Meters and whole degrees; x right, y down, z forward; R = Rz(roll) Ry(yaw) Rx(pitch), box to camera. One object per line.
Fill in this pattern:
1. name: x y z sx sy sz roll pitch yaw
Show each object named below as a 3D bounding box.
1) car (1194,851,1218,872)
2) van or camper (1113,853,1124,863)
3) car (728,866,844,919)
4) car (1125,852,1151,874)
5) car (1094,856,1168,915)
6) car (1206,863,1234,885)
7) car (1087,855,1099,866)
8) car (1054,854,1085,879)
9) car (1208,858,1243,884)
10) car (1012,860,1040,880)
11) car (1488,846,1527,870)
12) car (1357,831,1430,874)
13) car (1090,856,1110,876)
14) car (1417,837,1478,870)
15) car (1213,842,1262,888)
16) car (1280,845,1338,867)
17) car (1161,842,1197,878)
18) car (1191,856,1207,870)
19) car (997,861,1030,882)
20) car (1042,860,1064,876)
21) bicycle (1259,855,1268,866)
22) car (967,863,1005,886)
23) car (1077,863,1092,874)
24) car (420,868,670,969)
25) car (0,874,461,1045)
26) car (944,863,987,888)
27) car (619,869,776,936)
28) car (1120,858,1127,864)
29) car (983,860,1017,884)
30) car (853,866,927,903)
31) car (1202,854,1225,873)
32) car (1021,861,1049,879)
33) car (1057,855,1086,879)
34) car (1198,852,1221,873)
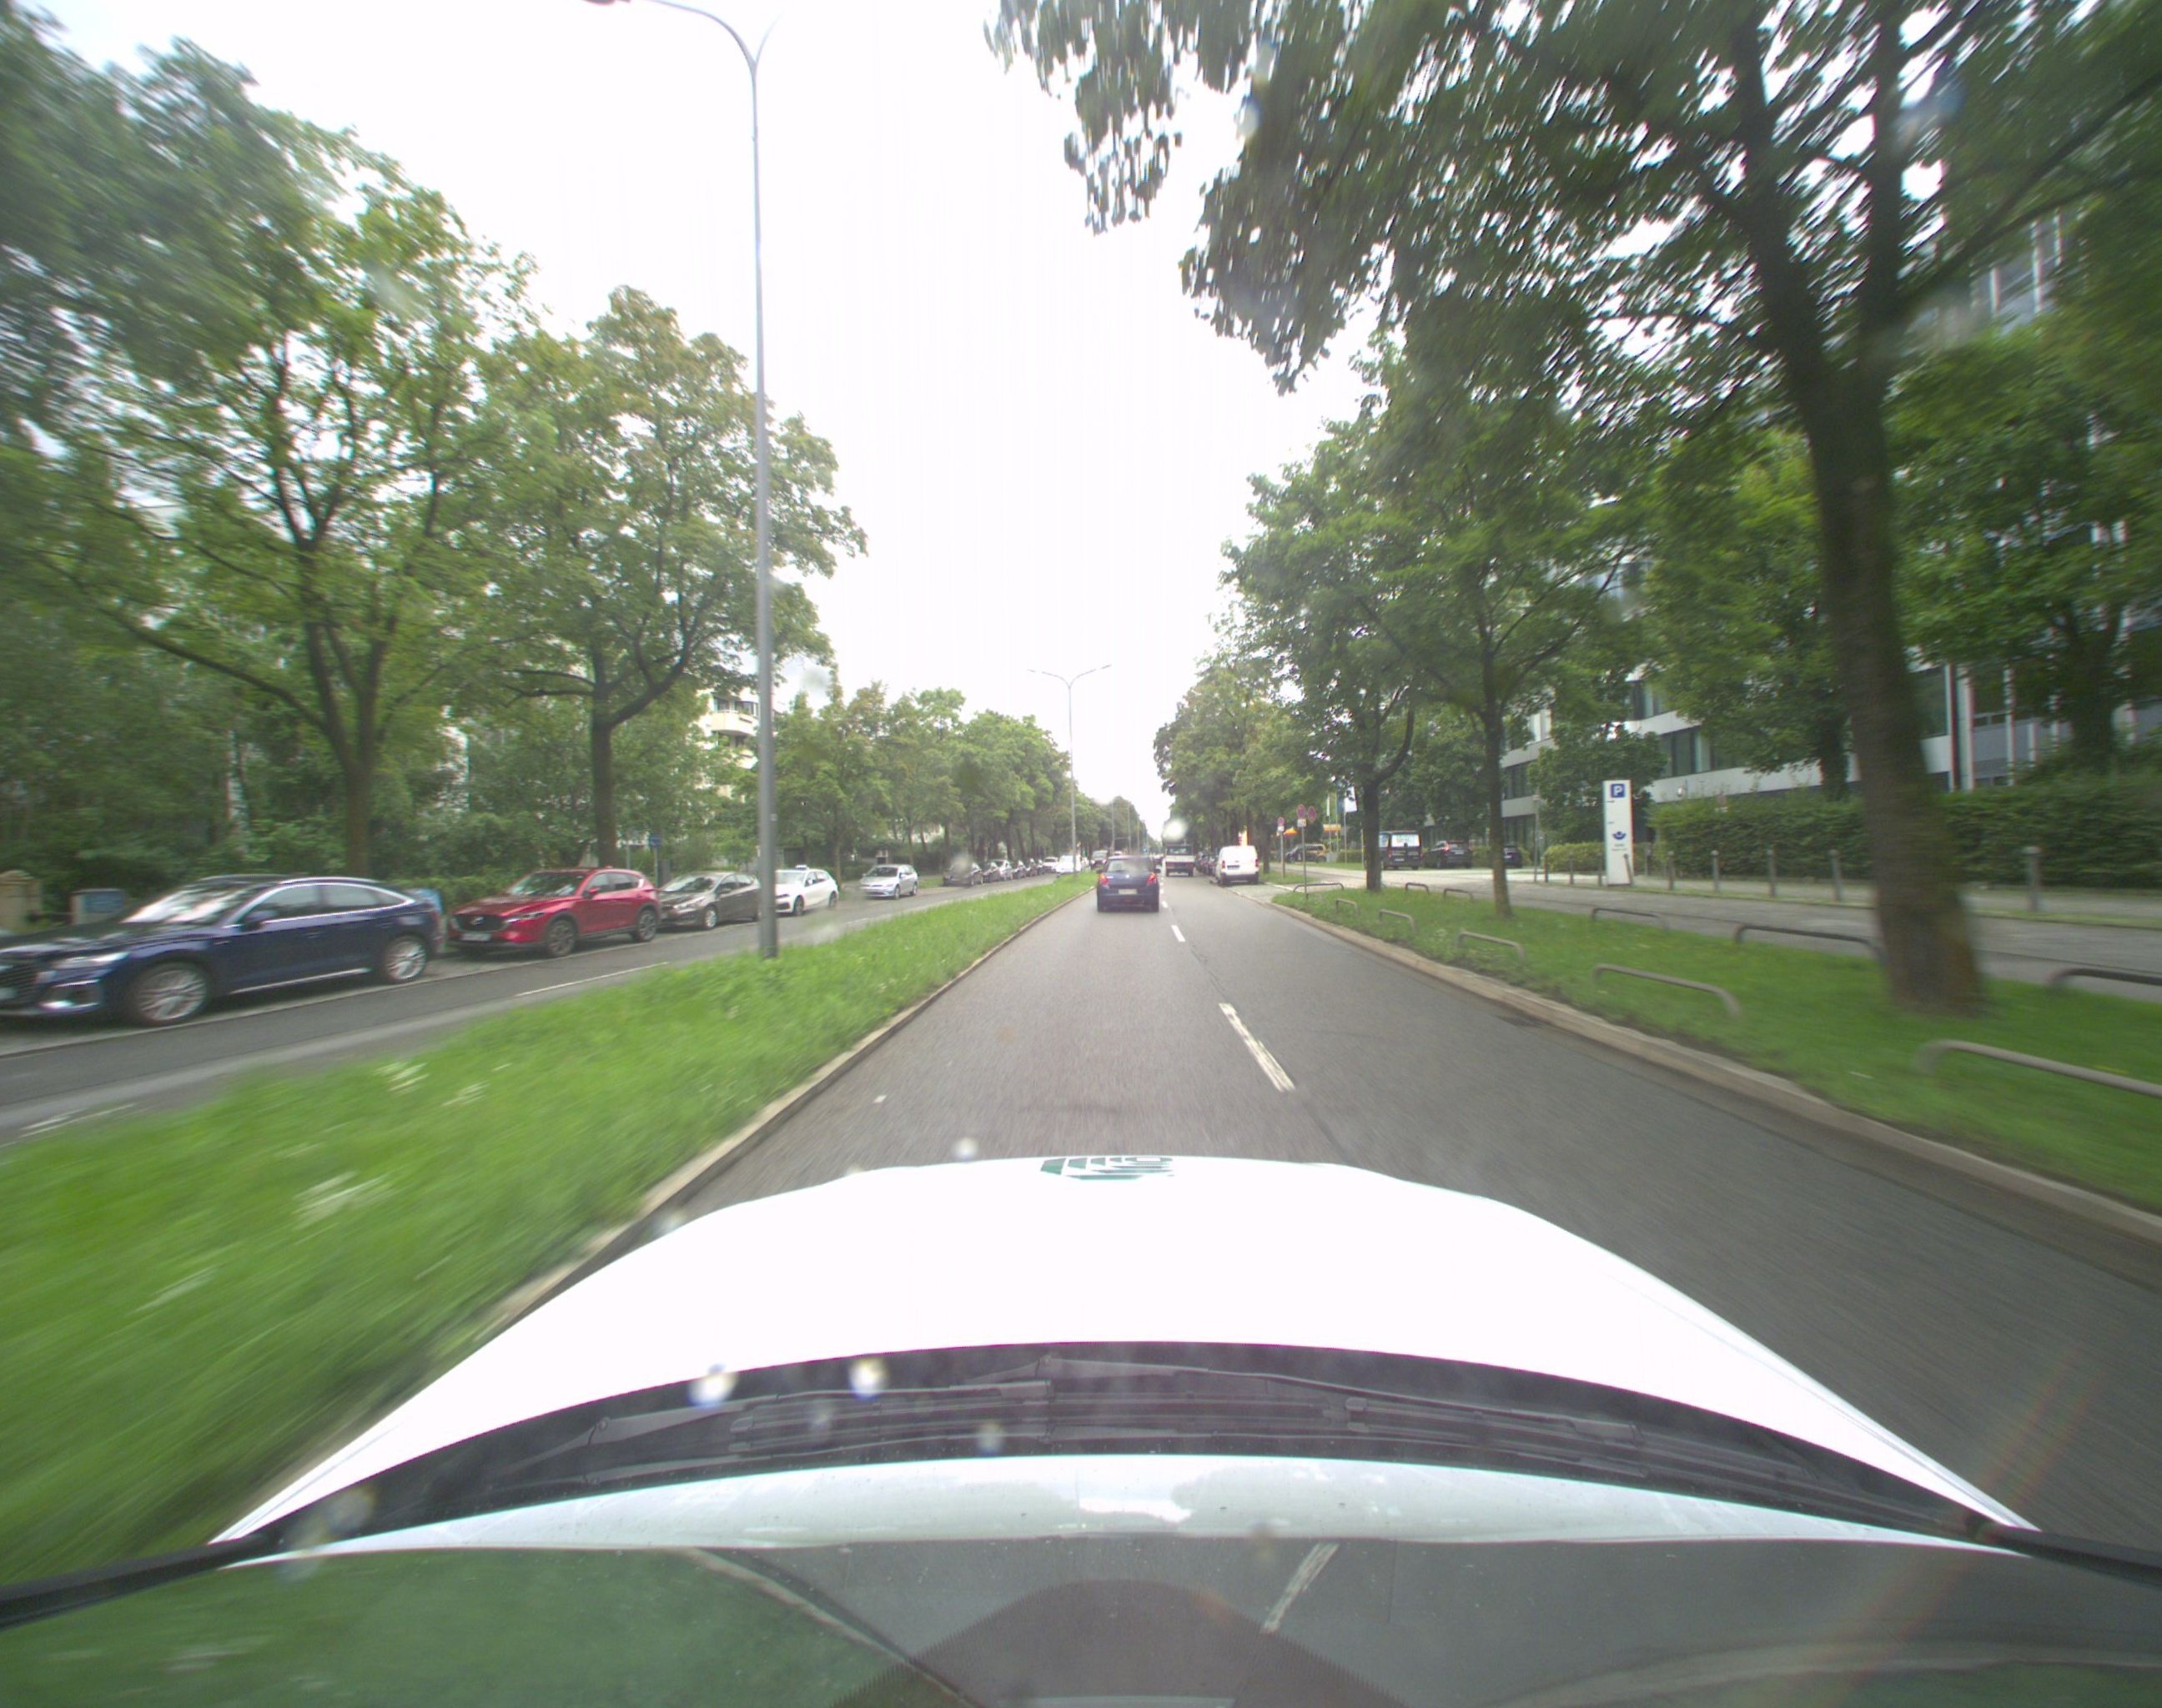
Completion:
1. car: 11.813 0.706 77.332 1.883 1.800 4.869 -2 0 6
2. van or camper: 9.617 0.965 208.335 2.129 2.476 6.269 -2 0 6
3. car: -9.412 1.176 26.442 1.730 1.529 4.483 0 0 6
4. car: 4.155 0.655 59.044 1.791 1.499 3.664 -2 0 4
5. car: 1.383 0.818 22.872 1.888 1.499 3.663 -1 0 3
6. car: 9.973 1.424 58.835 1.693 1.421 4.128 -2 0 6
7. car: 1.965 1.047 133.892 1.789 1.763 5.060 -2 0 2
8. car: -0.805 0.890 59.884 1.825 1.642 4.357 -2 0 5
9. car: 8.577 0.984 48.570 1.693 1.397 4.240 -2 0 6
10. car: -4.702 1.382 70.289 1.677 1.597 4.218 1 0 6
11. car: 25.020 0.225 47.898 1.766 1.374 3.987 -1 0 24
12. car: 18.527 -0.061 48.633 2.254 2.306 6.275 -2 0 4
13. car: 2.026 1.235 85.629 1.772 2.029 4.825 -2 0 5
14. car: 21.929 0.006 48.911 1.834 1.818 4.477 -2 0 4
15. car: 8.044 0.536 42.248 1.977 2.157 5.565 -2 0 6
16. car: 23.630 0.211 84.558 5.444 2.083 2.150 -2 -1 5
17. car: 6.967 0.426 57.623 2.405 2.444 5.097 0 0 7
18. car: 13.910 1.006 96.384 1.770 1.511 4.294 -3 -1 8
19. car: -5.327 1.351 64.723 1.708 1.524 5.042 1 0 5
20. car: -2.954 1.458 86.827 1.749 1.595 4.495 1 0 5
21. bicycle: 21.275 0.765 95.190 0.744 1.183 2.250 -2 0 6
22. car: -6.381 1.343 54.981 1.617 1.423 4.200 1 0 7
23. car: 0.583 2.026 115.619 1.666 1.475 4.222 1 0 6
24. car: -10.481 1.162 16.458 1.731 1.651 4.611 1 0 4
25. car: -11.051 1.147 10.795 1.730 1.643 4.692 0 0 6
26. car: -6.928 1.269 49.313 1.573 1.423 4.369 1 0 5
27. car: -9.970 1.191 21.589 1.730 1.483 4.341 1 0 6
28. car: 12.027 1.993 228.785 1.628 1.442 3.741 -2 0 6
29. car: -5.899 1.306 59.533 1.617 1.648 3.874 1 0 6
30. car: -8.445 1.290 36.397 1.728 1.448 4.830 1 0 5
31. car: 10.695 0.724 65.933 1.692 1.408 4.523 -2 0 8
32. car: -4.203 1.476 75.023 1.751 1.513 4.956 1 0 6
33. car: -0.918 1.290 81.639 2.198 2.194 5.808 -3 -1 5
34. car: 11.191 0.702 71.112 1.803 1.675 4.810 -2 0 8
